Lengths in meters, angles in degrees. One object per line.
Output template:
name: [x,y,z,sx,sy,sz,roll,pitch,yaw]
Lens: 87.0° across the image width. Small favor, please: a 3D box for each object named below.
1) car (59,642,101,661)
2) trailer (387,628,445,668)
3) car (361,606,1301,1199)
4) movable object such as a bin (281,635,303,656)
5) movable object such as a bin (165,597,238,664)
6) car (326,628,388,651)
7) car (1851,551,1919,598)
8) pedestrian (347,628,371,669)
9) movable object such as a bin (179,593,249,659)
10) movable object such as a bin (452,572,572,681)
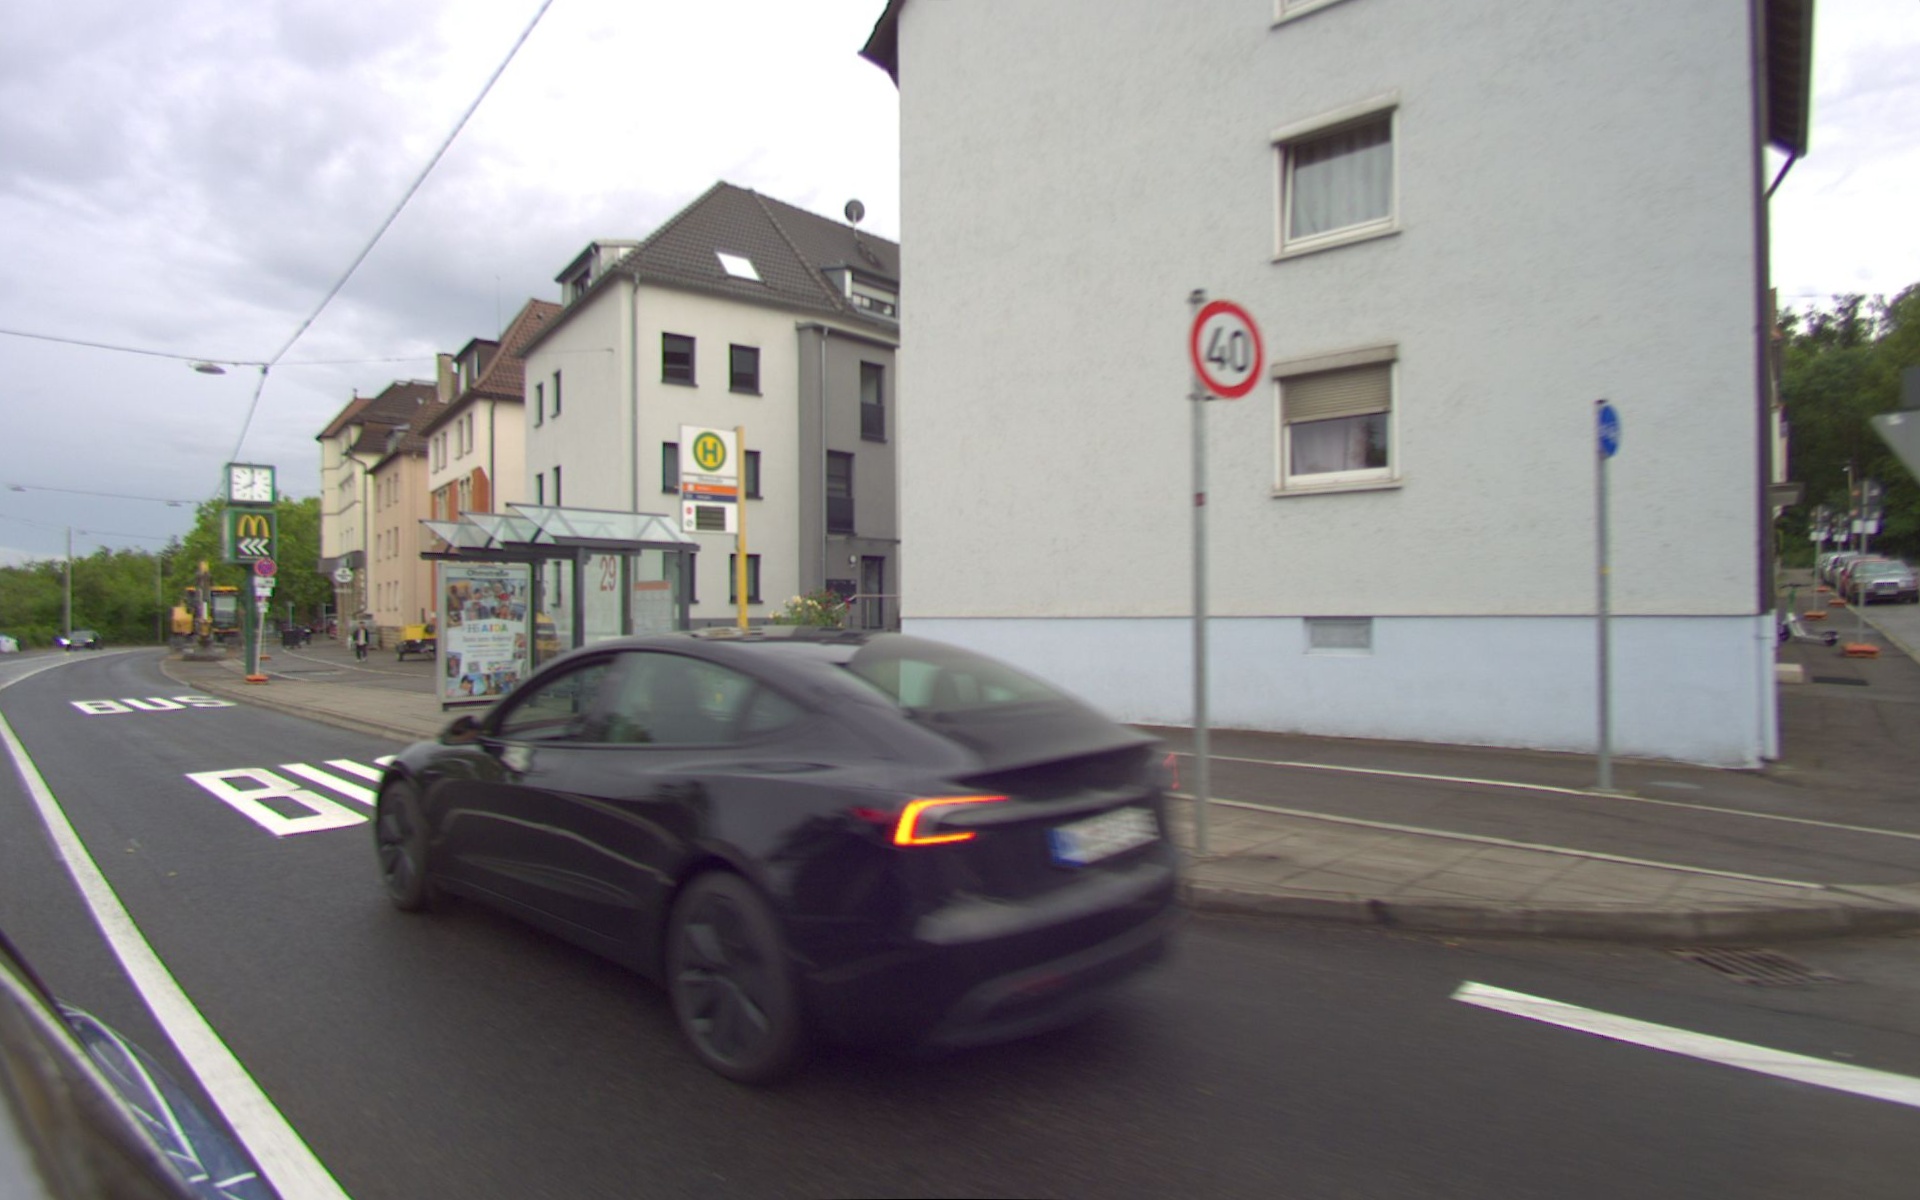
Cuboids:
car: [-63.944,3.715,73.578,1.579,1.312,3.724,-2,-1,-30]
trailer: [-20.608,1.783,38.299,1.306,1.409,4.004,-1,-1,-37]
car: [-0.991,0.794,4.459,4.391,1.463,1.763,-2,-2,44]
movable object such as a bin: [-41.902,2.853,63.473,1.142,1.312,1.251,0,-2,-32]
movable object such as a bin: [-37.383,1.499,49.914,2.787,3.136,4.643,0,-2,-37]
car: [-46.481,3.042,77.986,3.935,1.677,1.915,0,-2,-37]
car: [30.728,-0.854,33.444,1.626,1.419,3.360,-3,1,37]
pedestrian: [-23.247,1.864,39.146,0.595,1.540,1.040,-2,-1,-39]
movable object such as a bin: [-46.718,1.654,63.541,2.908,3.873,8.150,0,-2,-32]
movable object such as a bin: [-13.033,0.757,29.247,2.101,2.828,4.990,-2,-1,-35]
